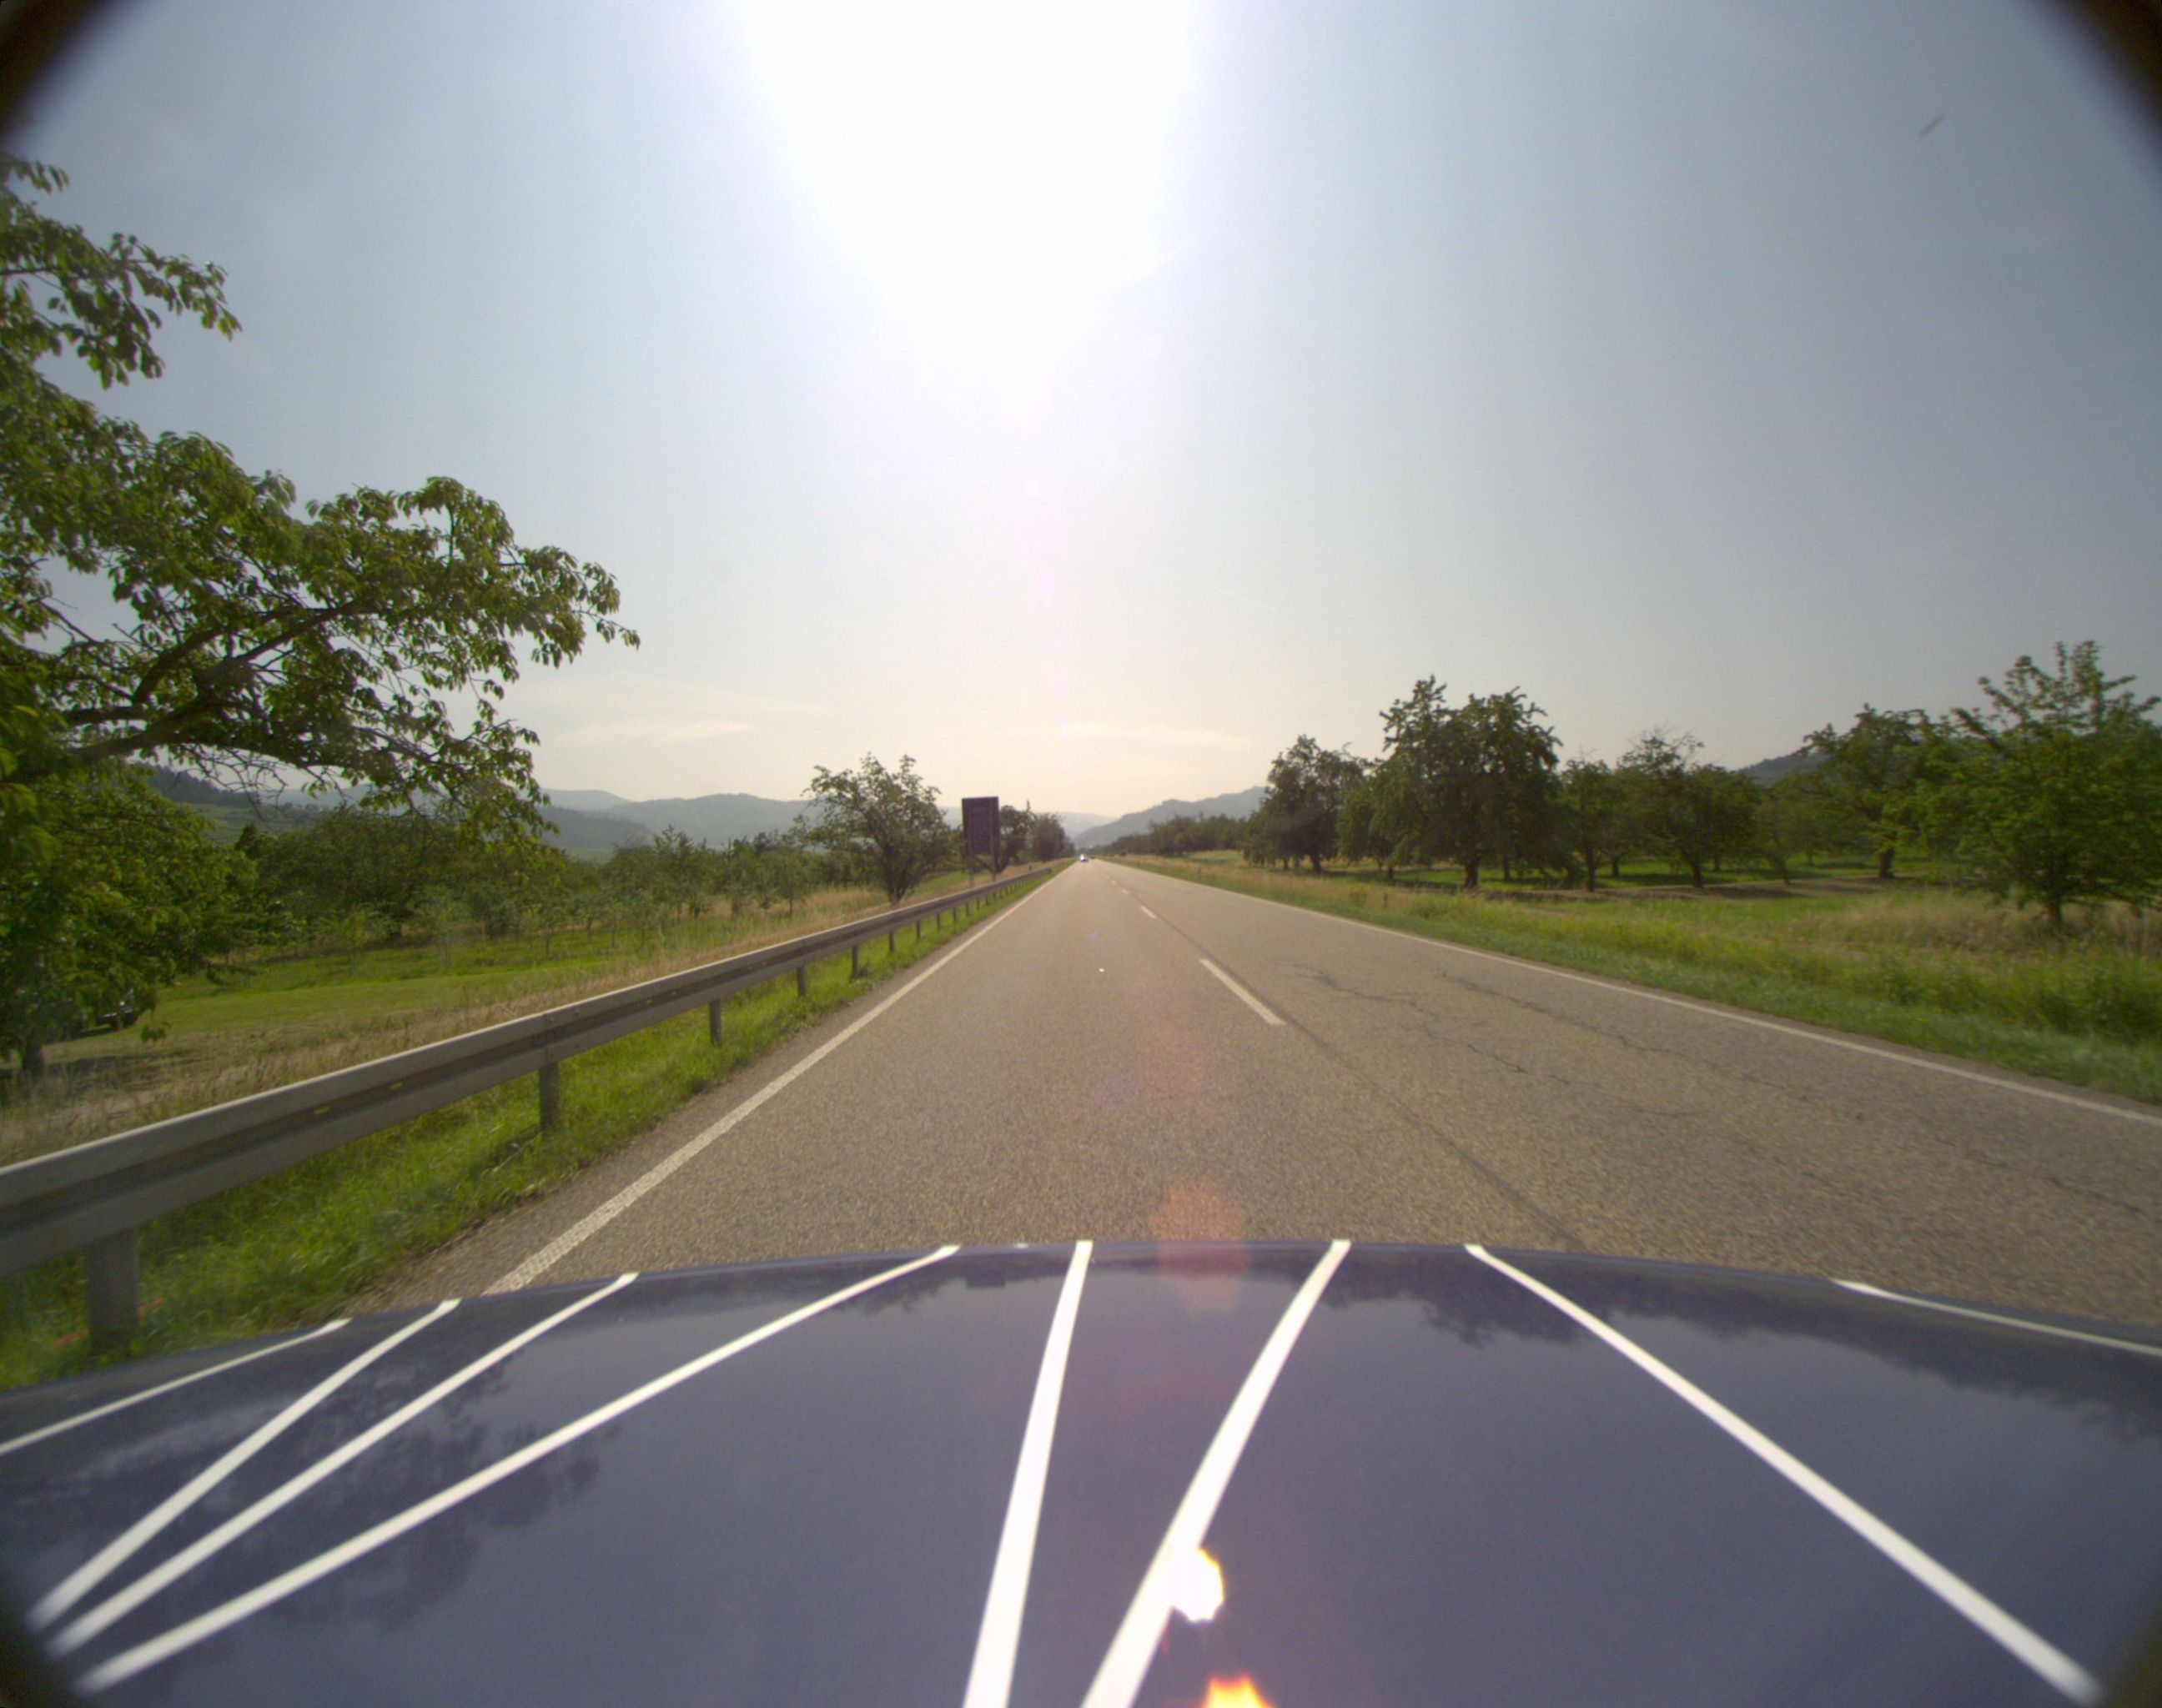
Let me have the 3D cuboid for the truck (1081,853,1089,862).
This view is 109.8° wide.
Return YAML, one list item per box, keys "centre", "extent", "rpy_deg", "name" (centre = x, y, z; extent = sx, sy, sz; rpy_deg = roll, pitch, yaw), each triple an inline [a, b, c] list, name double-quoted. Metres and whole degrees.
- centre: [1.043, 0.822, 195.634]
  extent: [2.031, 2.232, 4.765]
  rpy_deg: [-2, 1, 2]
  name: "truck"

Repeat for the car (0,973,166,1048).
- centre: [-29.387, 4.502, 21.603]
  extent: [4.090, 1.525, 1.856]
  rpy_deg: [-5, 1, -5]
  name: "car"
